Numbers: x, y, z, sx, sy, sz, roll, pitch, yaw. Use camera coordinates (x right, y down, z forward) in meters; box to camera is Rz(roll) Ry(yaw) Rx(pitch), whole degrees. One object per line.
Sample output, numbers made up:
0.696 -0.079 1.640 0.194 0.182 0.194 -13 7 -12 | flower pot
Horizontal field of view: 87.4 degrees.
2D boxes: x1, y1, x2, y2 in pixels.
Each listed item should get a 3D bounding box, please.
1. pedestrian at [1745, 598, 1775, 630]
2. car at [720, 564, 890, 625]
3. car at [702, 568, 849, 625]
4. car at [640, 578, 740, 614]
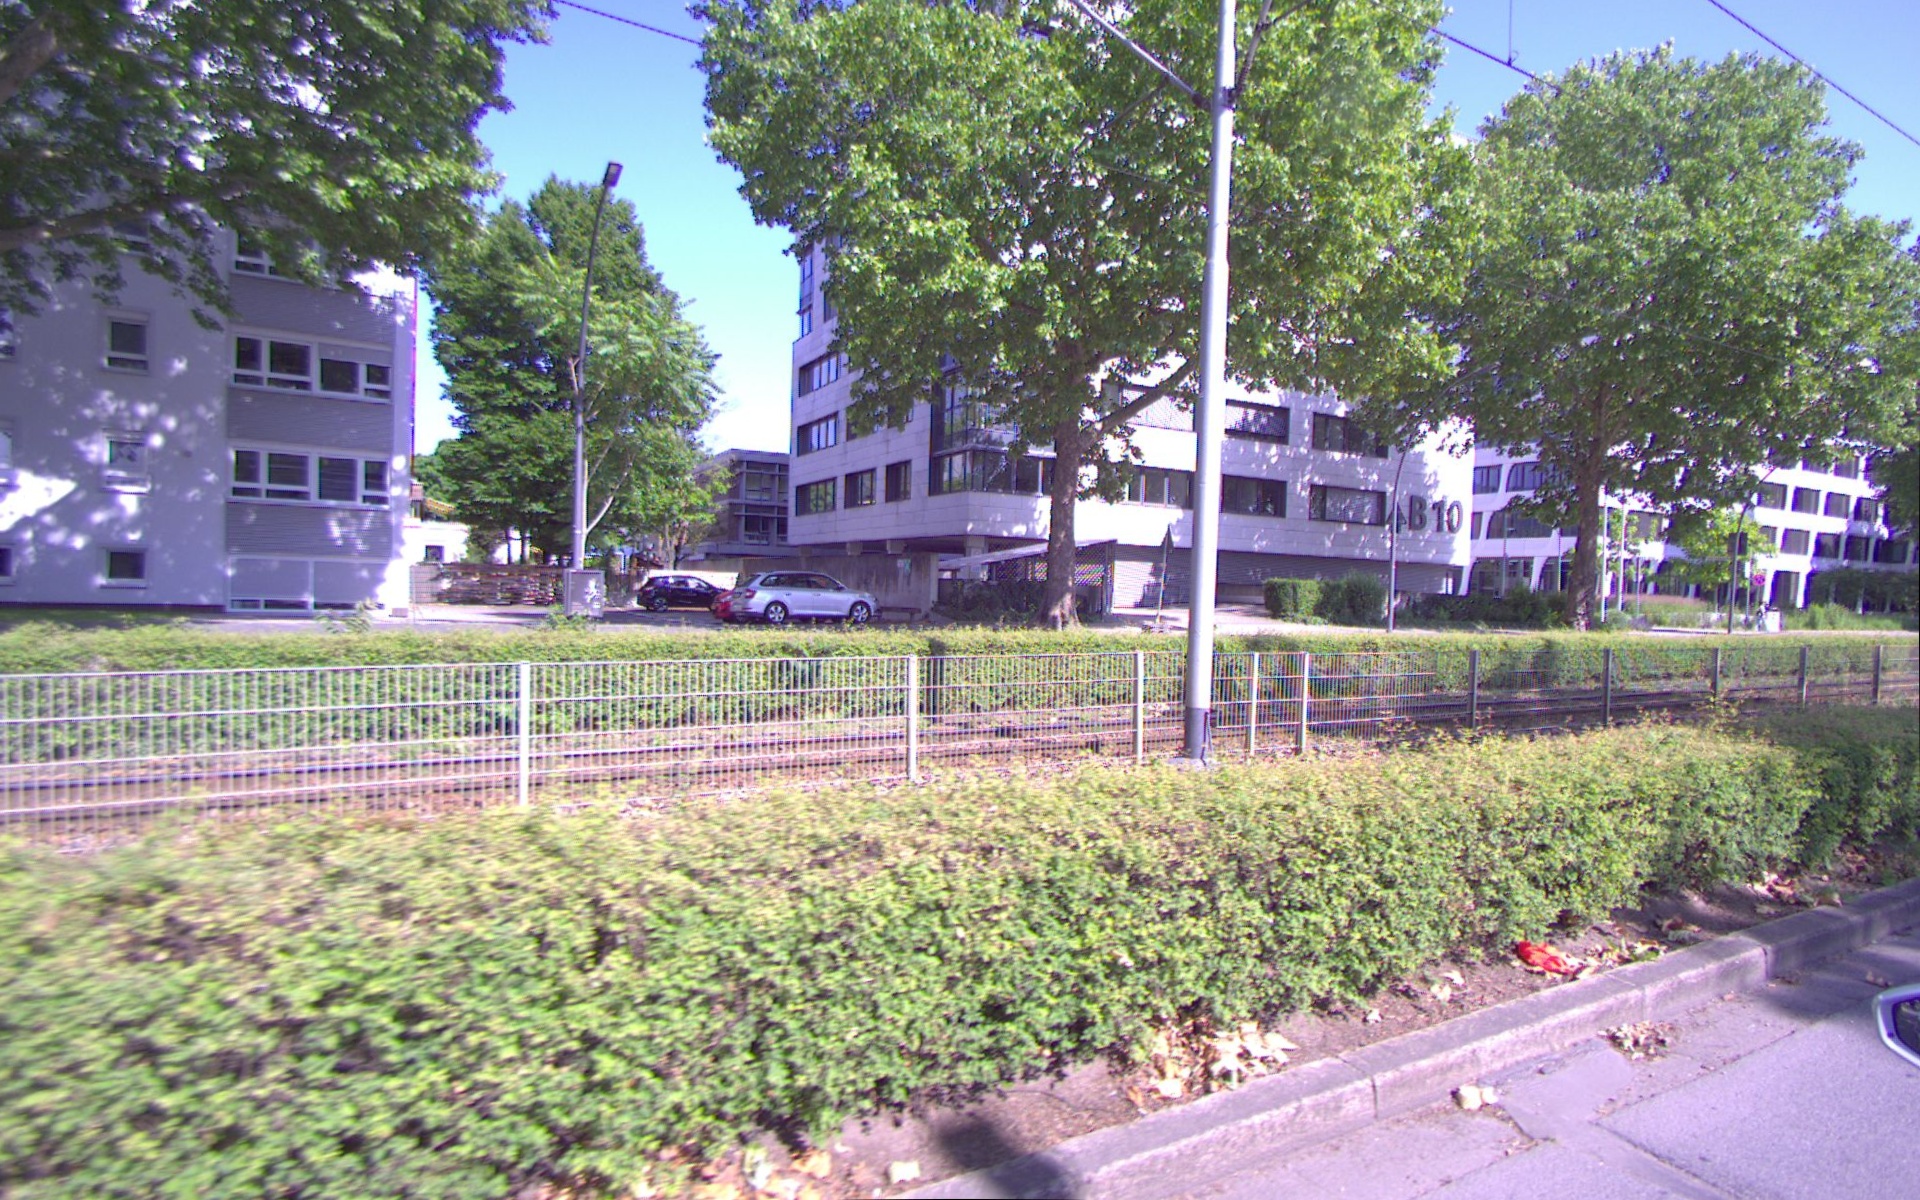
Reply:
42.111 0.737 52.857 0.998 1.609 0.720 2 2 -16 | pedestrian
-4.272 -0.134 27.848 4.298 1.570 1.734 1 2 -30 | car
-5.492 -0.098 29.941 3.953 1.570 1.734 1 2 -30 | car
-11.180 -0.159 41.582 3.709 1.373 1.635 1 1 -30 | car
